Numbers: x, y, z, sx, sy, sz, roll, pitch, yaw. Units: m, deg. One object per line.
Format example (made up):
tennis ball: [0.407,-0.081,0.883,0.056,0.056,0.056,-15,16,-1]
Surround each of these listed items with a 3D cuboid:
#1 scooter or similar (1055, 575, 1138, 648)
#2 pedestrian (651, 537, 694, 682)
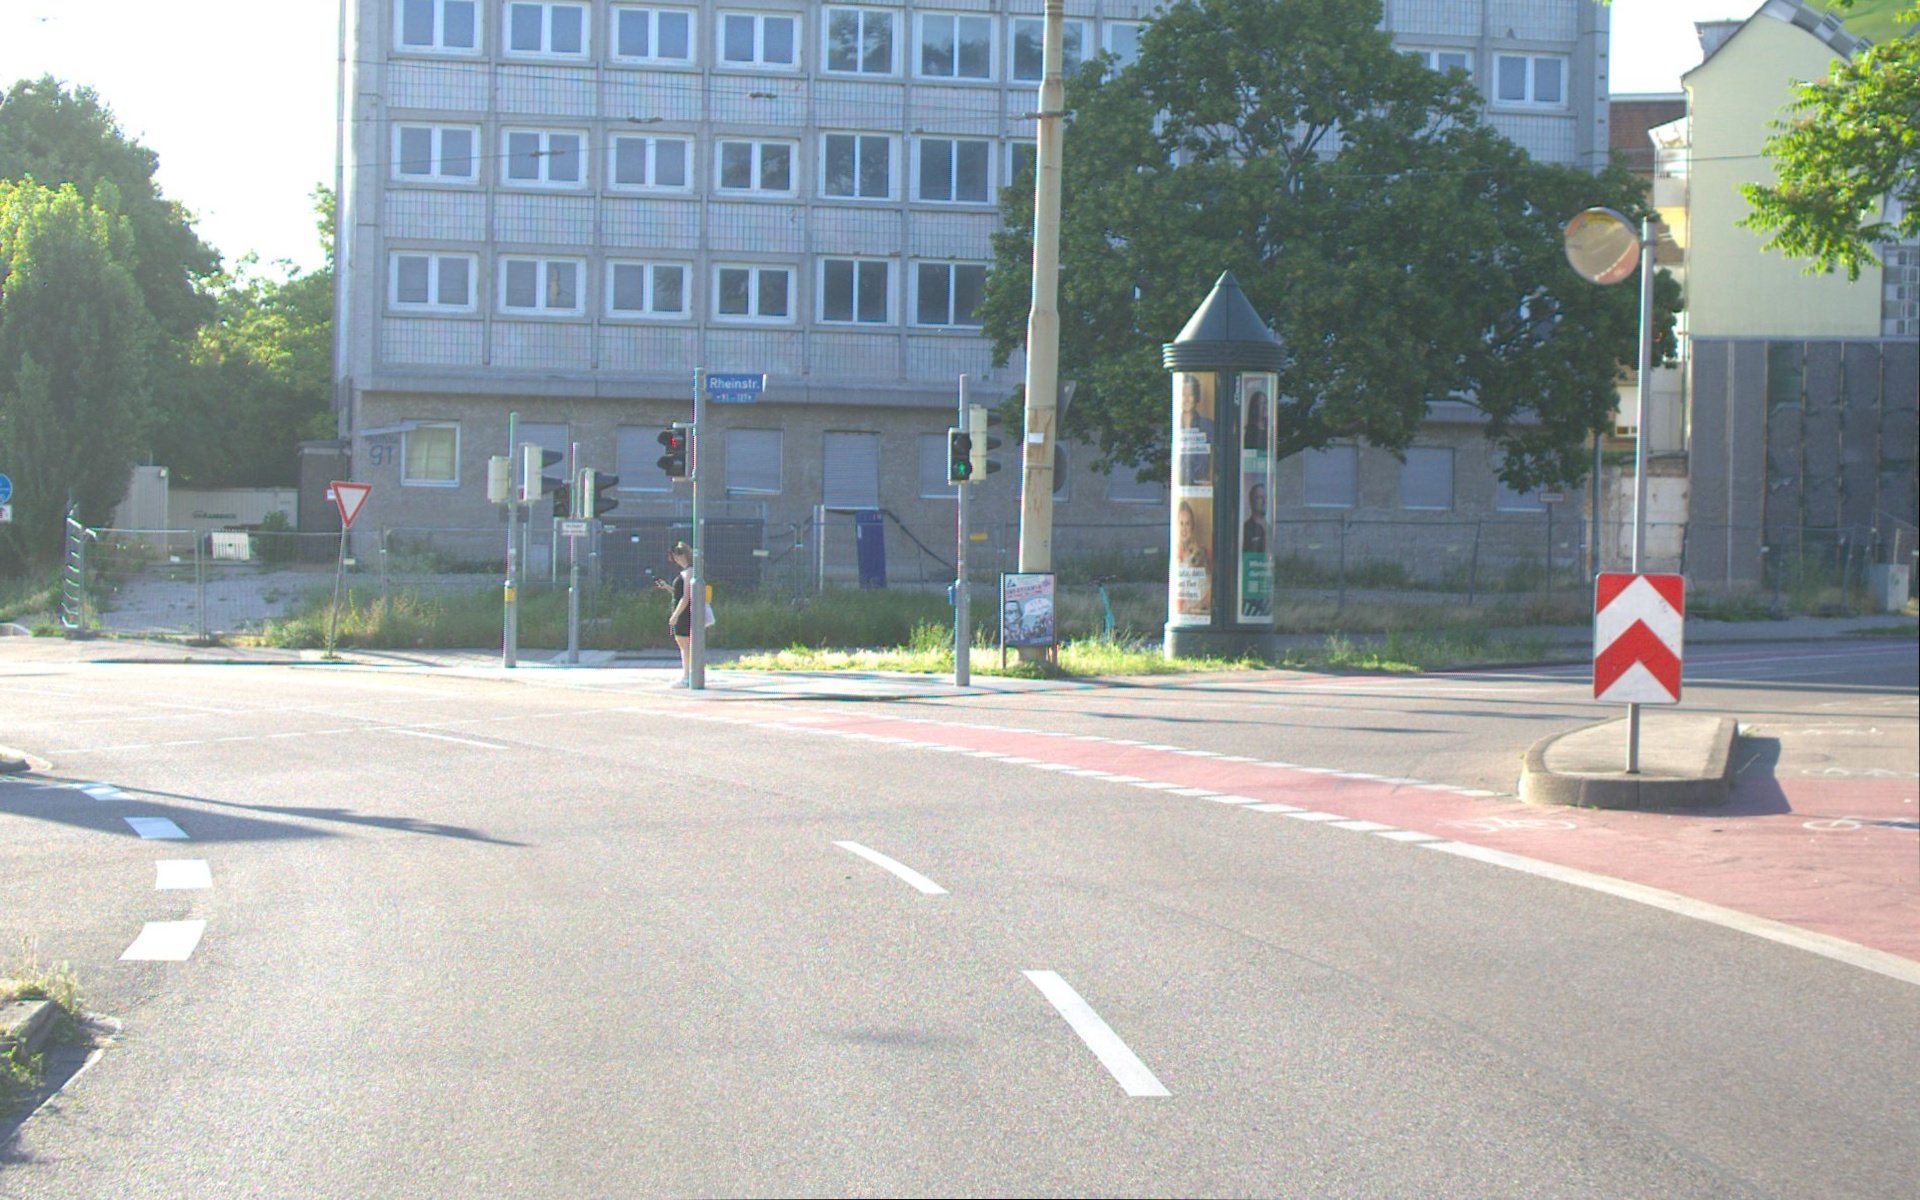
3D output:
scooter or similar: [2.225,0.188,55.990,1.296,1.166,0.327,0,1,-10]
pedestrian: [-3.208,0.102,38.349,0.436,1.607,0.630,0,1,-1]
